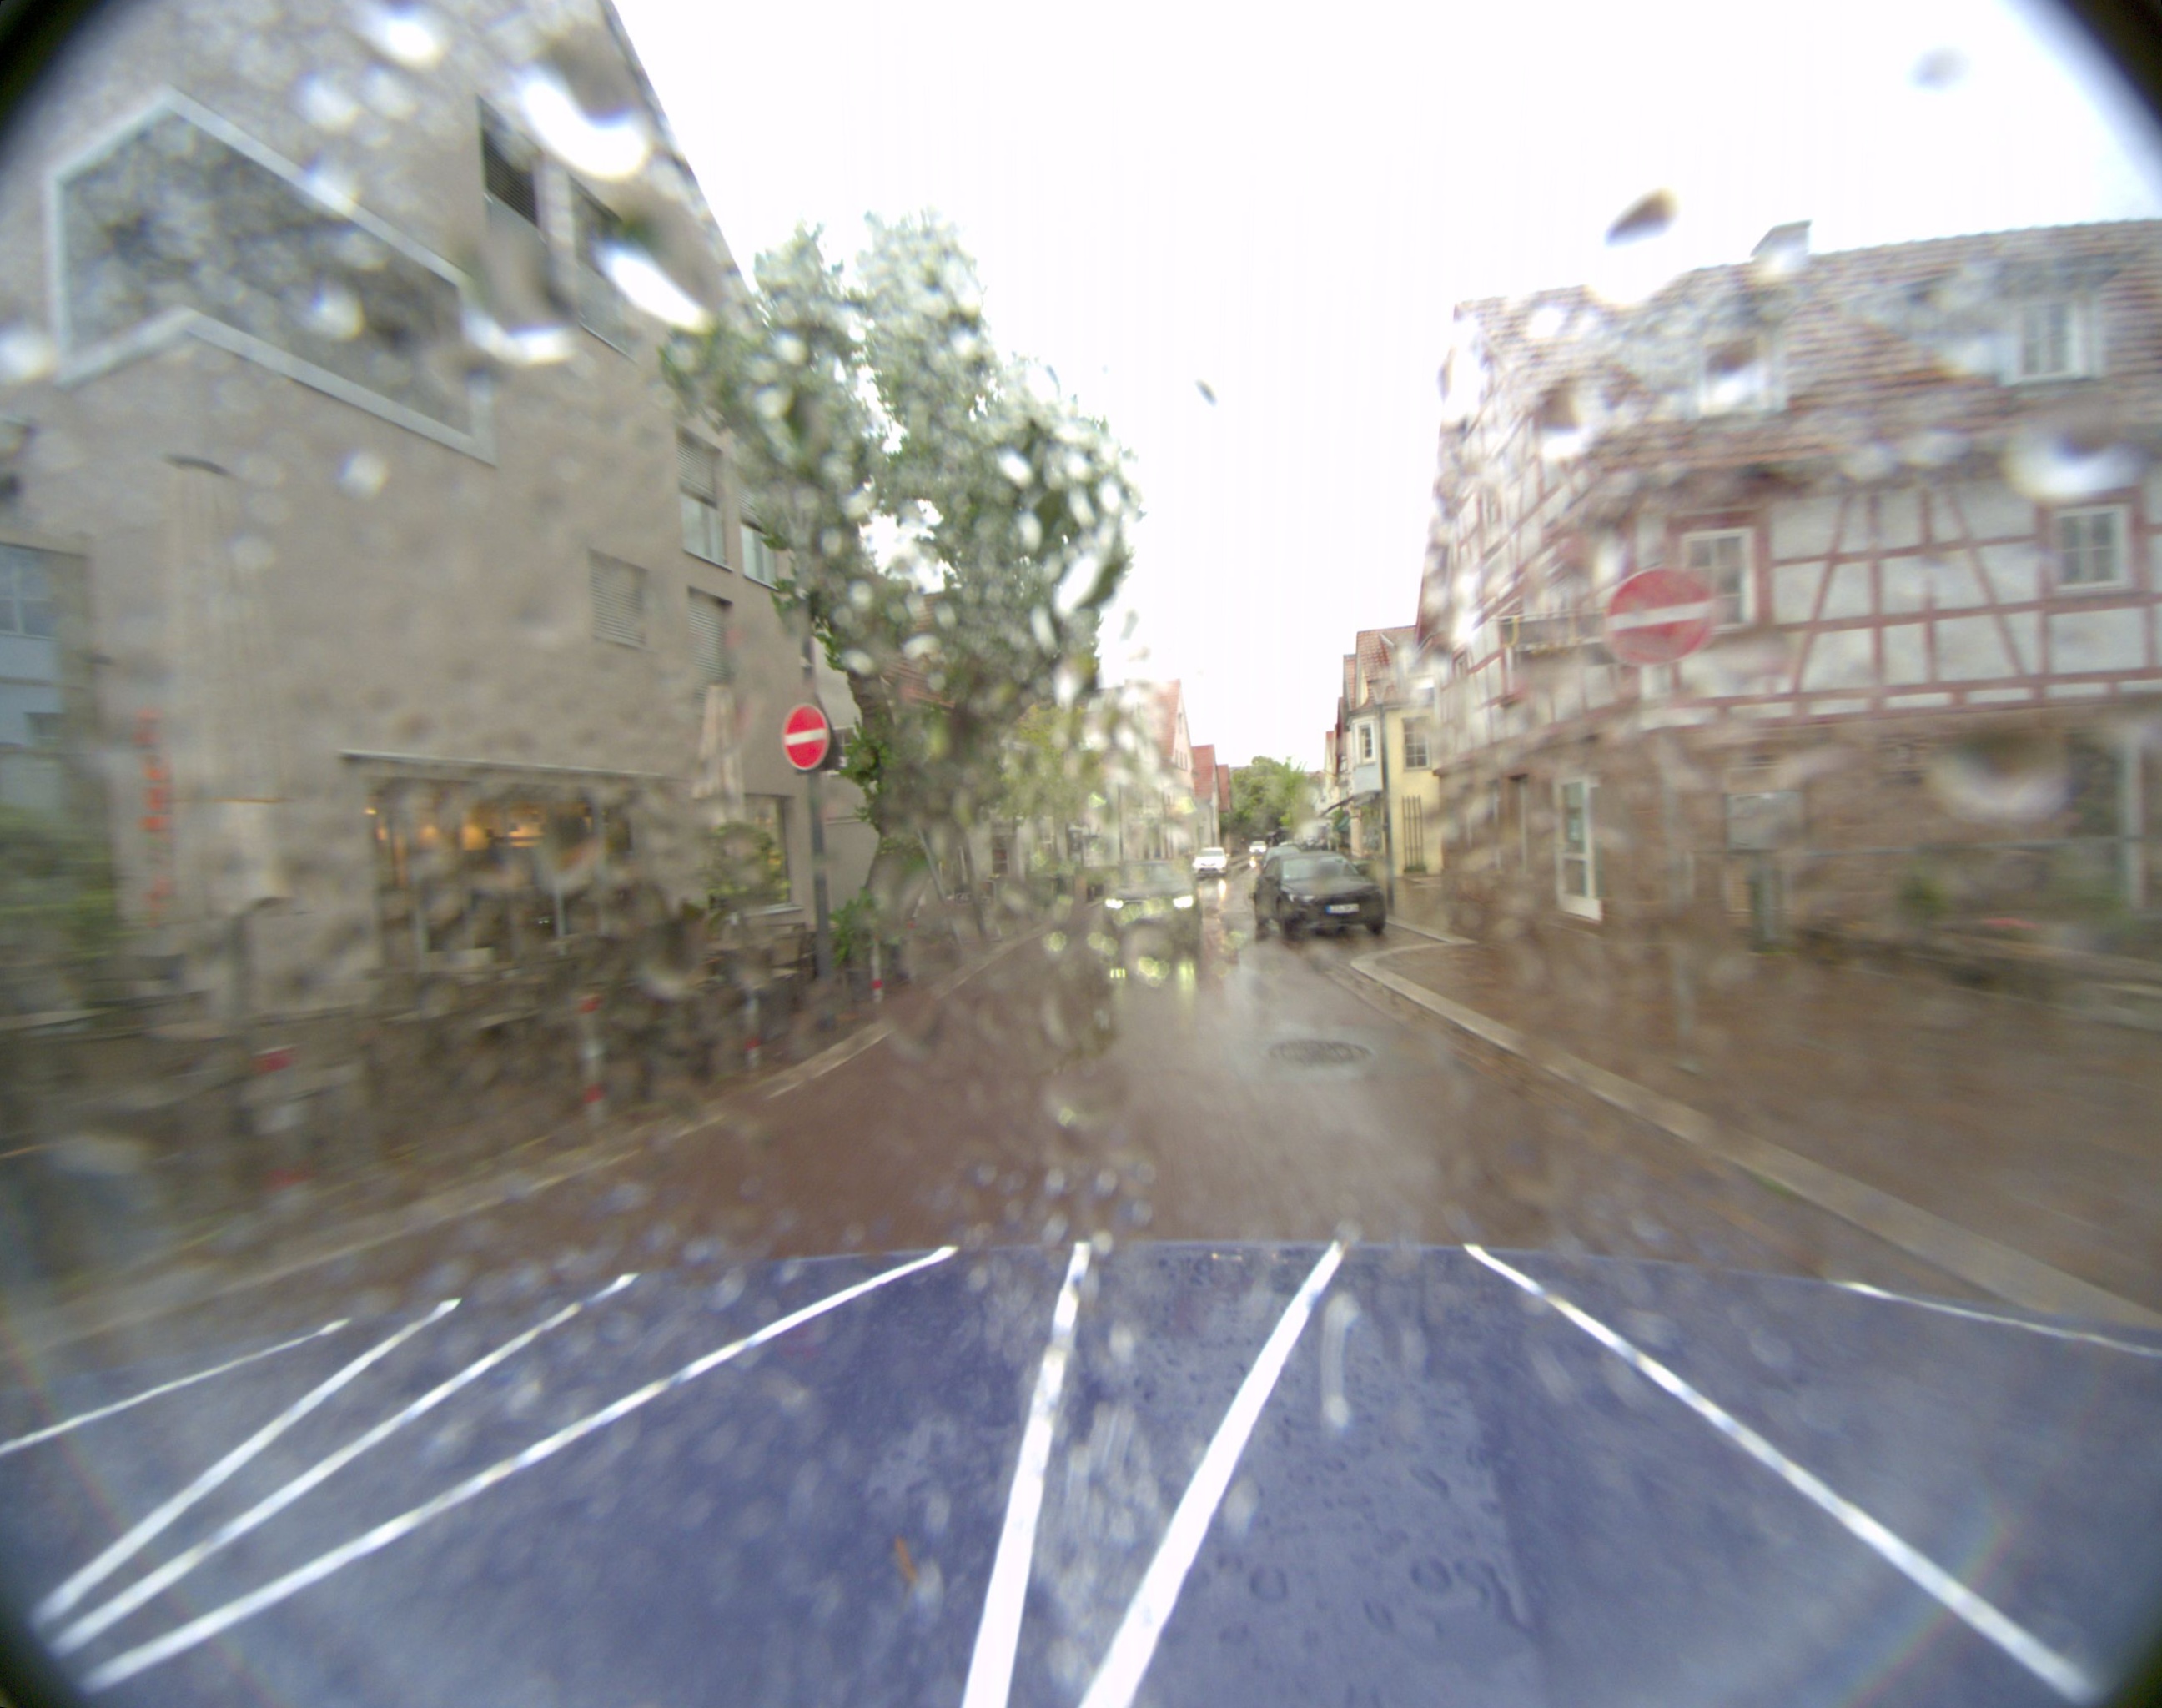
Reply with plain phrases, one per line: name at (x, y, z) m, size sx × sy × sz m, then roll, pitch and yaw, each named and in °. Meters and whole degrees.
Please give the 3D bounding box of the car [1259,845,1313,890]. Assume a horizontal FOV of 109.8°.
car at (7.928, 0.480, 29.483) m, size 1.805 × 1.434 × 4.003 m, roll -4°, pitch 1°, yaw 14°

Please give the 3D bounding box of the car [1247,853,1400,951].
car at (4.396, 0.788, 14.404) m, size 1.806 × 1.434 × 4.001 m, roll -4°, pitch 1°, yaw 5°

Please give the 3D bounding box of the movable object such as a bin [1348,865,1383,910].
movable object such as a bin at (6.704, 0.776, 17.903) m, size 0.612 × 1.016 × 0.530 m, roll -2°, pitch 1°, yaw 1°

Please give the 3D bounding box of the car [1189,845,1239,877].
car at (7.312, 0.335, 41.436) m, size 1.865 × 1.577 × 4.620 m, roll -2°, pitch 1°, yaw 20°

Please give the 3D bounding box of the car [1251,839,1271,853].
car at (19.581, -0.903, 82.571) m, size 1.866 × 1.452 × 4.004 m, roll -2°, pitch 1°, yaw 15°

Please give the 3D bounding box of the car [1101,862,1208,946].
car at (1.452, 0.928, 16.055) m, size 1.878 × 1.362 × 4.446 m, roll -3°, pitch 0°, yaw 3°
